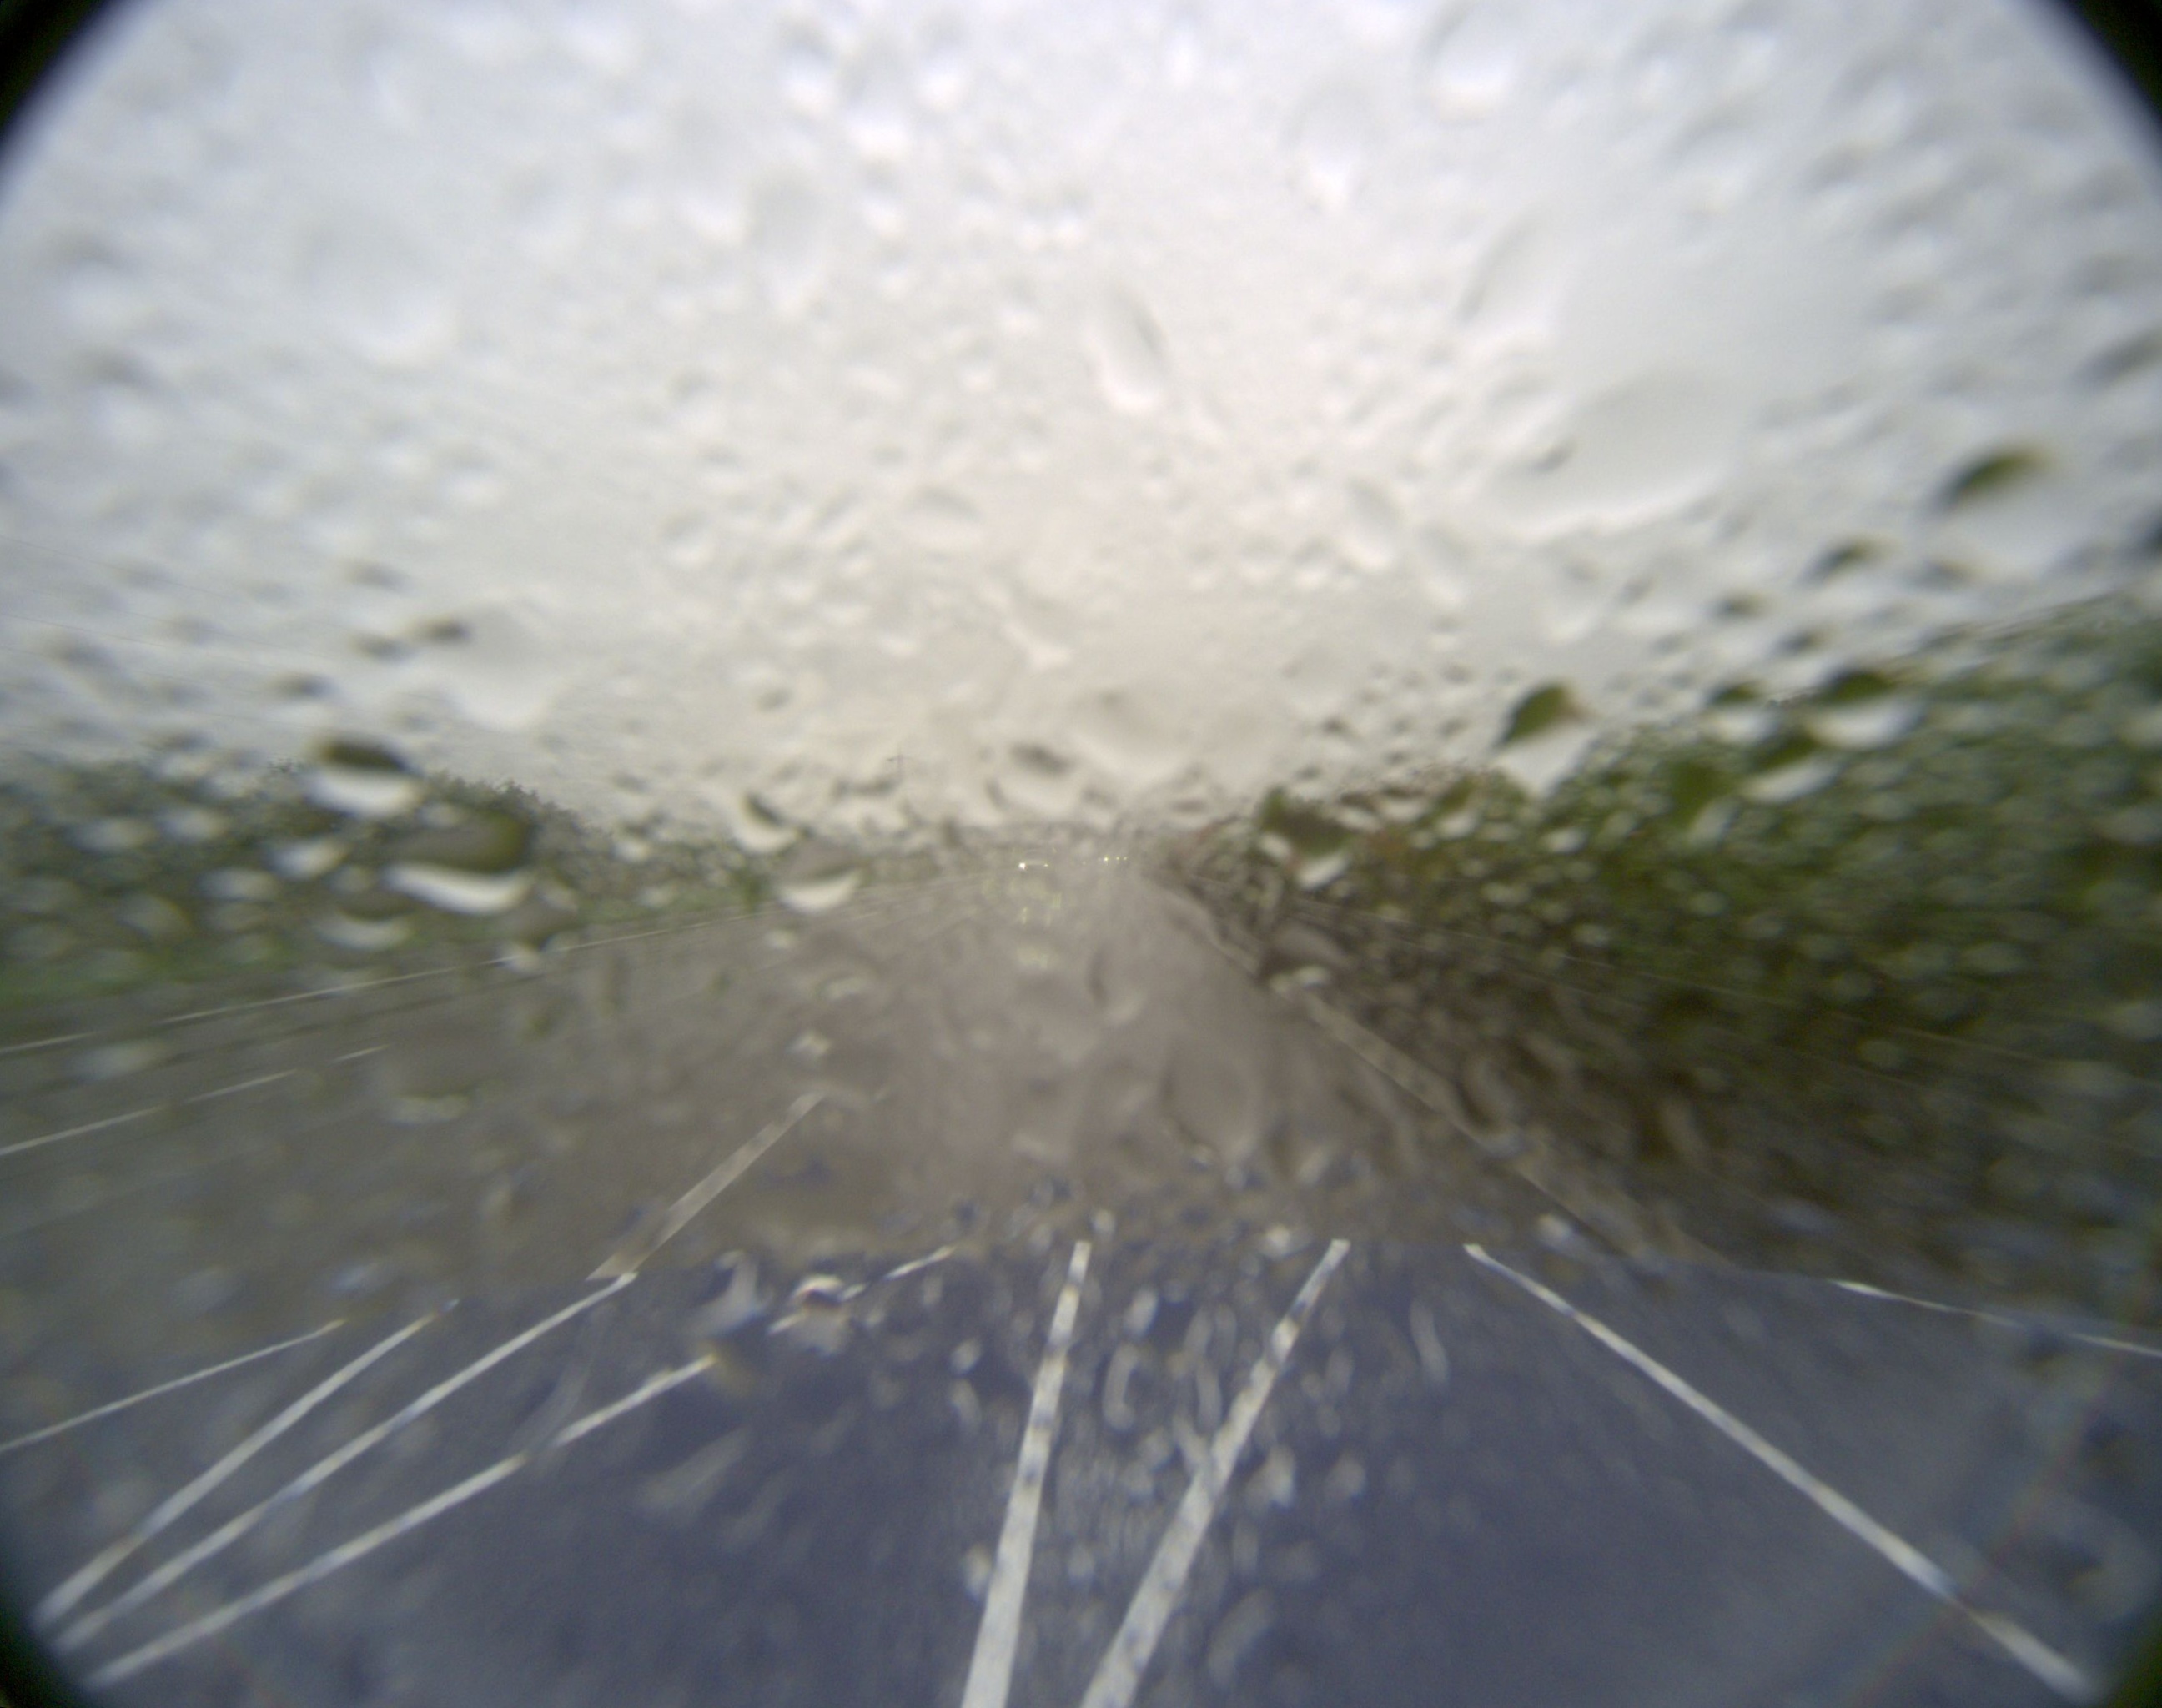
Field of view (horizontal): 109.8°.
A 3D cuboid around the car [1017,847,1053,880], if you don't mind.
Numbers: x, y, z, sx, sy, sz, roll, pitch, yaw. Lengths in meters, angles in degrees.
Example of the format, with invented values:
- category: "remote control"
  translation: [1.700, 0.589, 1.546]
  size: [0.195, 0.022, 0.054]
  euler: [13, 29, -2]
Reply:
- category: "car"
  translation: [-2.969, 0.591, 50.027]
  size: [1.998, 2.002, 4.000]
  euler: [-3, 0, 0]

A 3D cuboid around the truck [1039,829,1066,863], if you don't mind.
- category: "truck"
  translation: [-4.073, -1.164, 110.339]
  size: [3.136, 4.642, 11.403]
  euler: [-2, 0, 1]

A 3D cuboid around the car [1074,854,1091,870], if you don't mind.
- category: "car"
  translation: [0.163, 0.983, 99.273]
  size: [1.999, 2.002, 3.998]
  euler: [-2, 1, -3]
